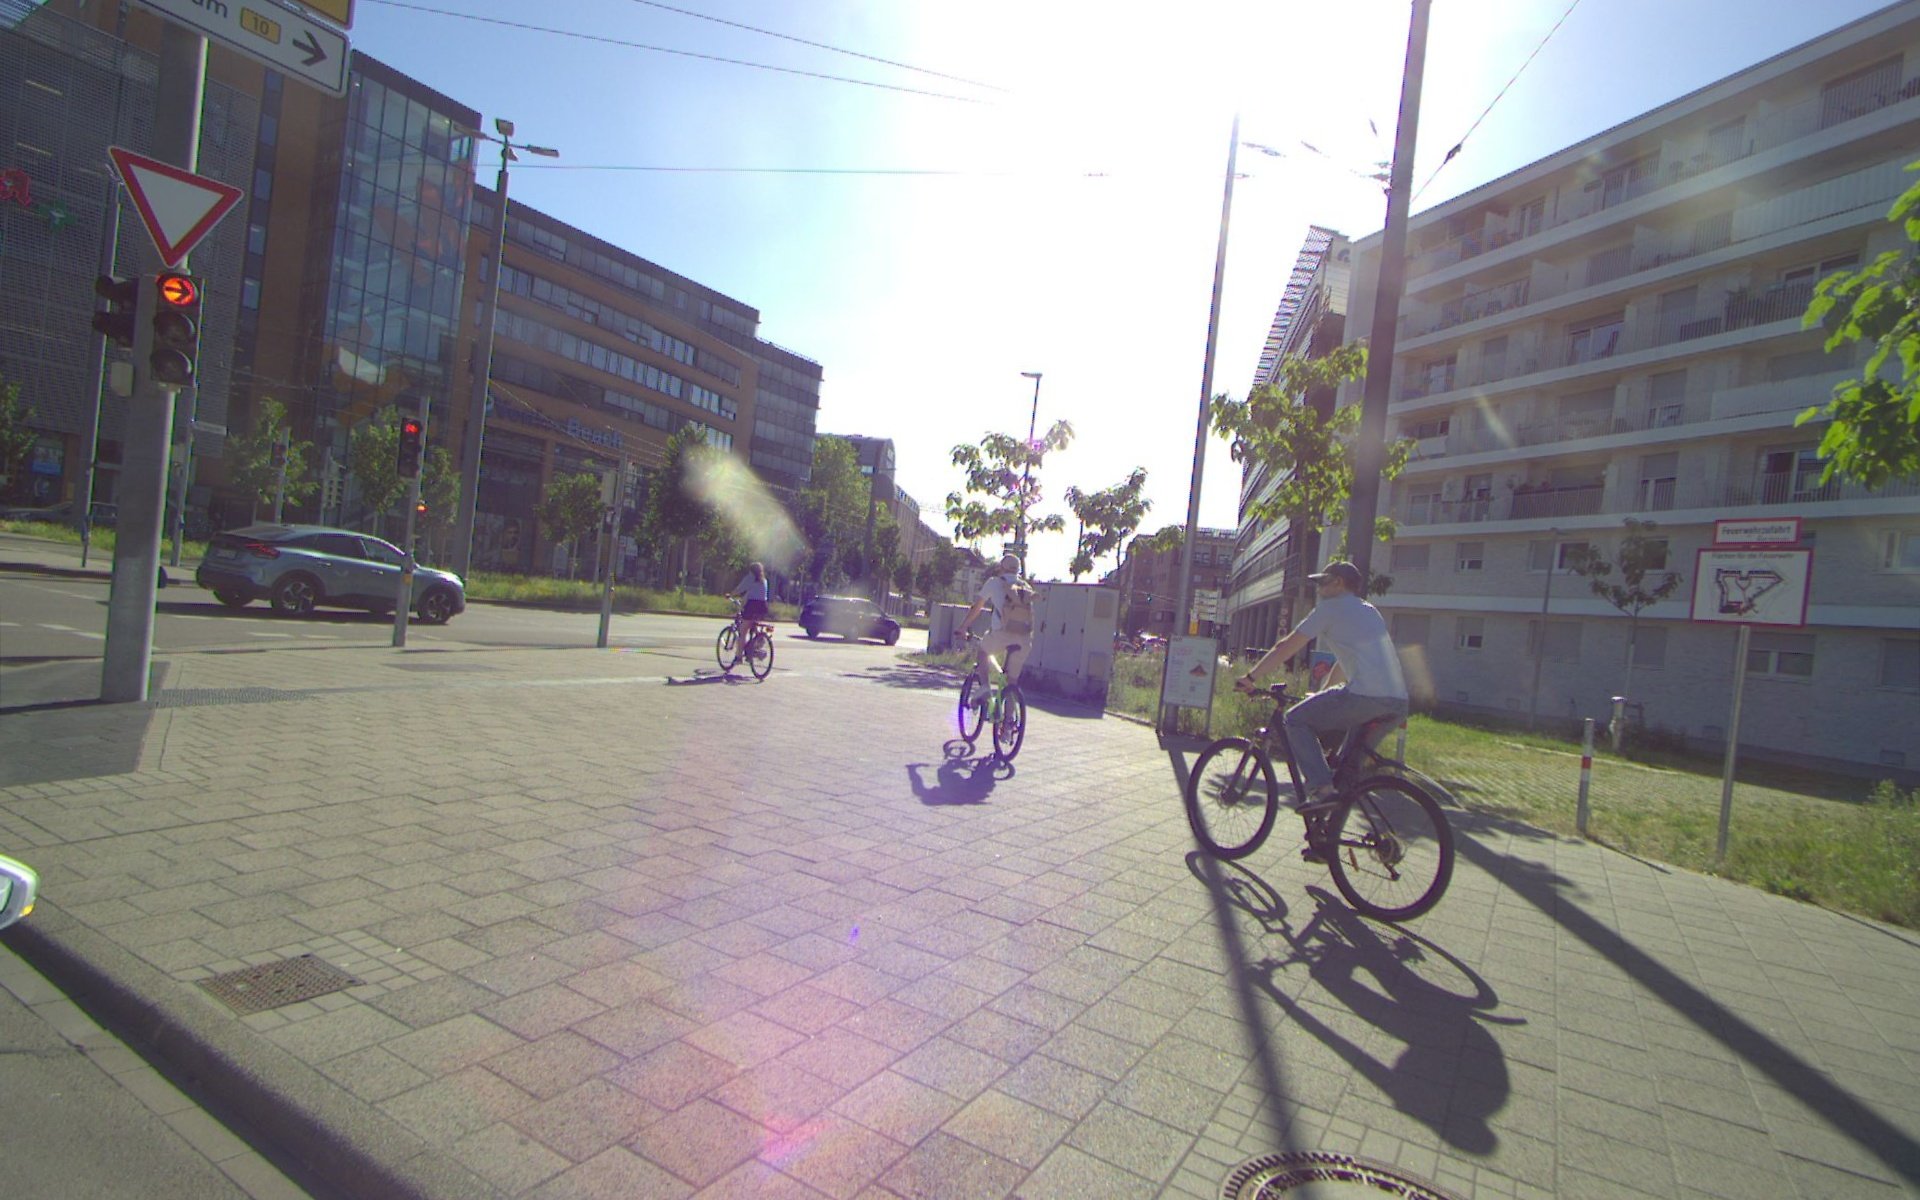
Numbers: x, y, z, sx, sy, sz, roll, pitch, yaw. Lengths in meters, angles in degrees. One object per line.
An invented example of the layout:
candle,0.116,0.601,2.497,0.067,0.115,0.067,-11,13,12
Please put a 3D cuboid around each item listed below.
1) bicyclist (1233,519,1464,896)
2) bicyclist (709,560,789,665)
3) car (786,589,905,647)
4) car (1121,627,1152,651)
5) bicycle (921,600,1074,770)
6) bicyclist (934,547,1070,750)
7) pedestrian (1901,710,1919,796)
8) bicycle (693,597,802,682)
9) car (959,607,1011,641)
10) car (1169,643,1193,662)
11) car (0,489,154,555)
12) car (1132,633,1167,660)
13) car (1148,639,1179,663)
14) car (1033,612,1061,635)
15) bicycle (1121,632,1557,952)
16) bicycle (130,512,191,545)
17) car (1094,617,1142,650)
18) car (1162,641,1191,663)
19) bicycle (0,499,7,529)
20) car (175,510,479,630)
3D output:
bicyclist,2.143,0.559,5.559,0.804,1.888,0.742,6,-1,-39
bicyclist,-3.099,0.181,14.745,0.664,1.453,0.930,6,-1,-40
car,-3.794,0.671,34.250,1.800,1.479,4.684,7,-1,23
car,13.971,3.114,79.483,1.677,1.515,4.281,7,-2,19
bicycle,0.297,0.743,9.463,0.706,1.344,1.740,6,1,-20
bicyclist,0.363,0.419,9.374,0.706,1.748,1.088,5,2,-22
pedestrian,20.144,3.196,20.524,0.970,1.719,0.842,6,2,-16
bicycle,-3.149,0.566,14.778,0.665,1.084,1.799,8,-3,-42
car,1.588,1.484,61.033,1.901,1.728,4.686,7,0,16
car,21.657,5.171,98.509,1.677,1.515,4.281,7,-2,19
car,-32.070,-2.773,36.323,1.810,1.484,4.161,6,-5,30
car,13.448,3.310,71.202,1.677,1.515,4.281,7,-2,19
car,15.667,3.939,77.252,1.677,1.515,4.281,7,-2,19
car,7.628,2.073,87.962,1.615,1.665,3.704,7,-1,15
bicycle,1.997,0.939,5.671,0.752,1.316,2.134,6,-1,-35
bicycle,-40.520,-3.616,51.029,0.595,1.310,2.260,7,-2,30
car,9.345,1.999,59.083,1.675,1.591,4.872,7,-1,21
car,17.912,4.314,83.264,1.677,1.515,4.281,7,-2,19
bicycle,-41.603,-3.765,42.435,0.559,1.232,1.859,9,1,31
car,-11.019,-0.435,17.912,1.678,1.531,4.279,7,-2,23
